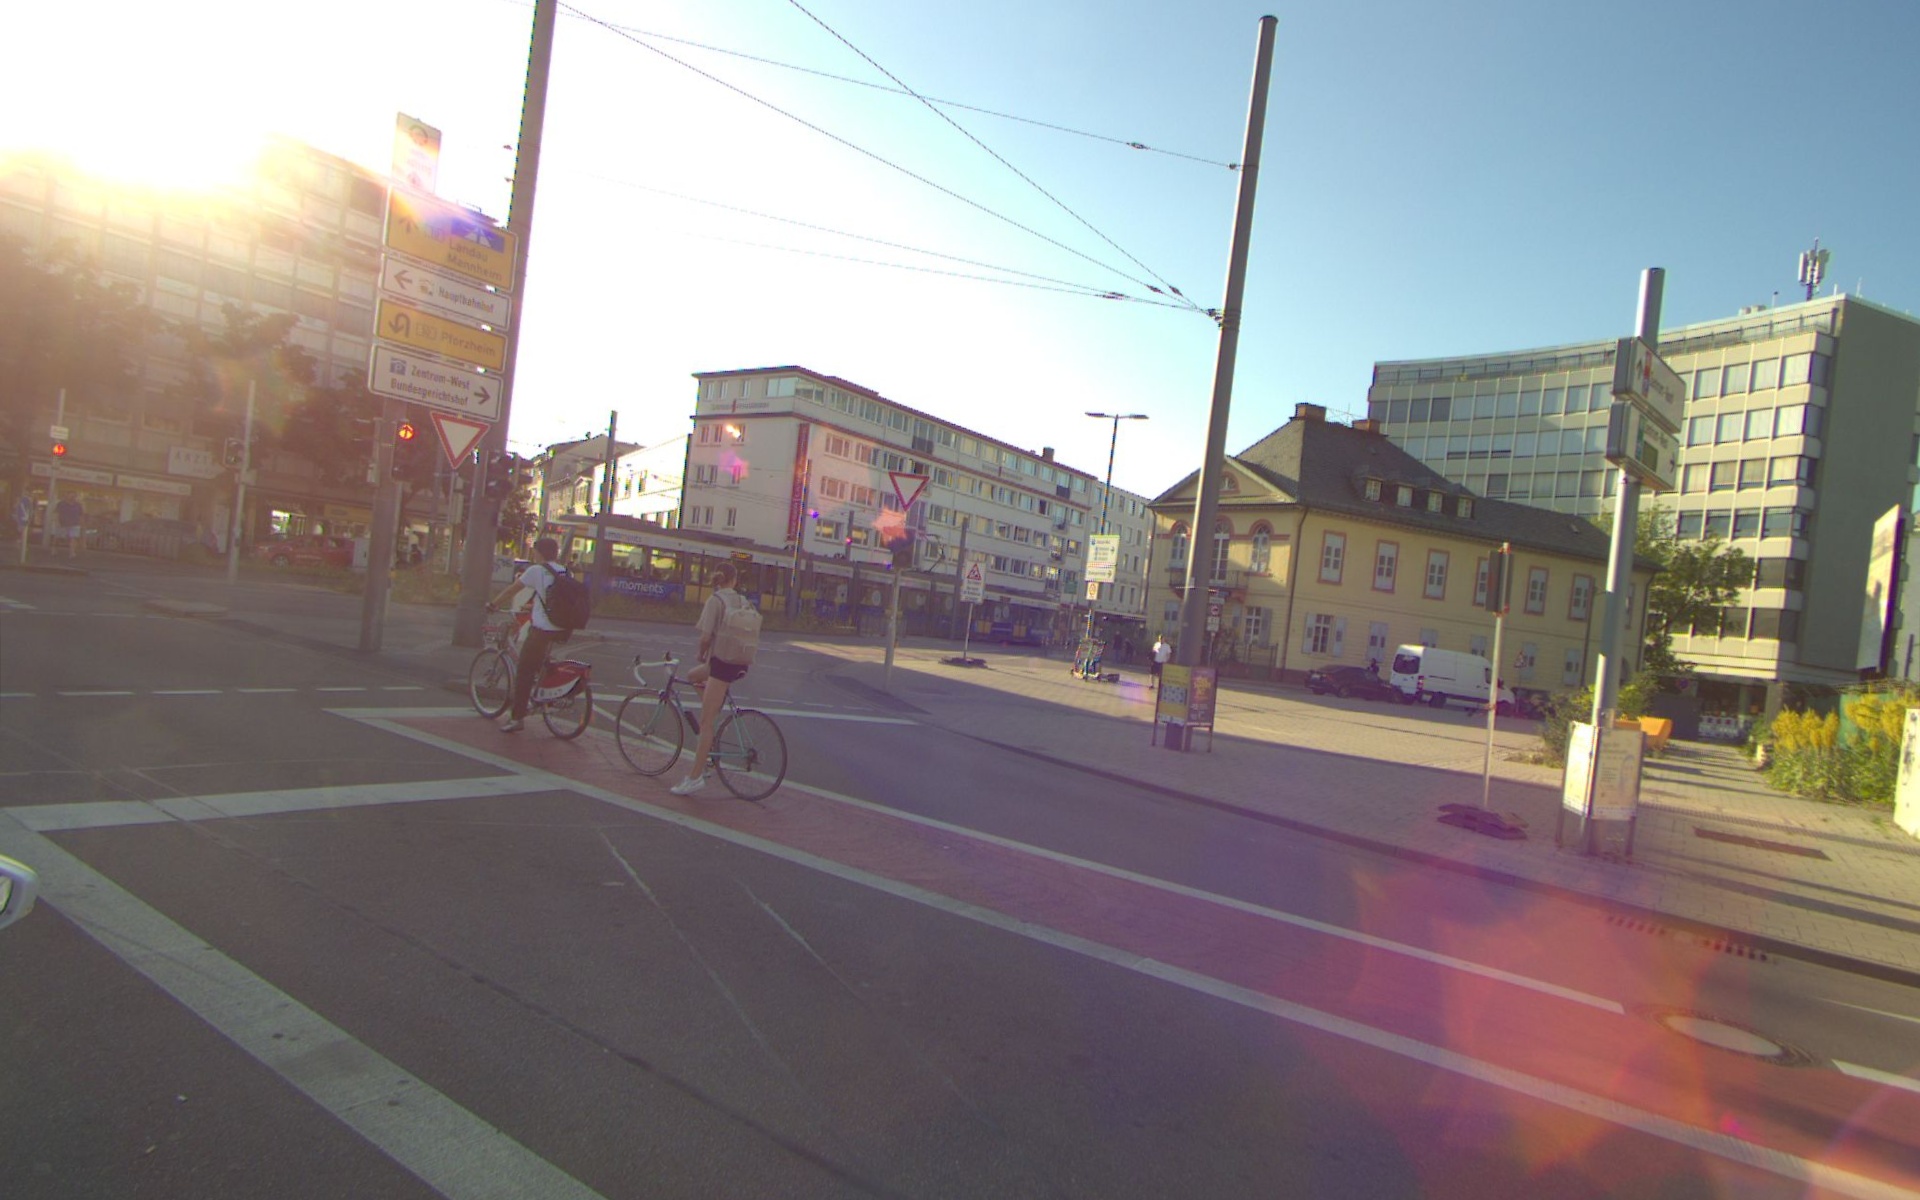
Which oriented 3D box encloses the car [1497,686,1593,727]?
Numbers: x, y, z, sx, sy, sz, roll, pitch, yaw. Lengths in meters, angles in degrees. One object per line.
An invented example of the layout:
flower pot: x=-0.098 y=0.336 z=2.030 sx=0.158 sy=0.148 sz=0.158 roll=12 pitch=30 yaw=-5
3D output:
car: x=27.094 y=4.931 z=46.591 sx=3.706 sy=1.380 sz=1.709 roll=8 pitch=-2 yaw=-17

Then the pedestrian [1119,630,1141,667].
pedestrian: x=8.099 y=2.310 z=47.938 sx=0.802 sy=1.661 sz=0.687 roll=7 pitch=-1 yaw=15

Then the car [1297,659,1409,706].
car: x=16.622 y=3.487 z=42.593 sx=4.133 sy=1.380 sz=1.709 roll=8 pitch=-2 yaw=-17

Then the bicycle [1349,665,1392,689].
bicycle: x=20.831 y=3.895 z=50.999 sx=1.963 sy=0.959 sz=0.721 roll=8 pitch=-2 yaw=-20

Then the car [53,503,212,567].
car: x=-30.308 y=-2.343 z=36.943 sx=1.816 sy=1.636 sz=4.071 roll=6 pitch=-2 yaw=36

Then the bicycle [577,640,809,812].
bicycle: x=-2.046 y=0.918 z=7.649 sx=1.664 sy=1.013 sz=0.543 roll=6 pitch=-1 yaw=27

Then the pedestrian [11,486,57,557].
pedestrian: x=-24.045 y=-2.033 z=26.115 sx=1.029 sy=1.702 sz=0.694 roll=6 pitch=-1 yaw=45

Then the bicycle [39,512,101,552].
bicycle: x=-34.496 y=-2.627 z=38.980 sx=2.594 sy=1.157 sz=0.751 roll=9 pitch=0 yaw=26

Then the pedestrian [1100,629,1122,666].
pedestrian: x=7.223 y=2.253 z=48.000 sx=0.802 sy=1.661 sz=0.687 roll=7 pitch=-1 yaw=13

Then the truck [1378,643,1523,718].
truck: x=21.833 y=3.581 z=44.808 sx=5.556 sy=2.578 sz=2.294 roll=8 pitch=-2 yaw=-17

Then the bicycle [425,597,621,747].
bicycle: x=-4.035 y=0.638 z=9.249 sx=1.777 sy=1.113 sz=0.543 roll=6 pitch=-1 yaw=27

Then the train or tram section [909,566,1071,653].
train or tram section: x=2.235 y=0.803 z=62.740 sx=3.655 sy=3.877 sz=12.960 roll=6 pitch=-2 yaw=32

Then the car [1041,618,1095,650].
car: x=8.932 y=2.789 z=82.759 sx=1.970 sy=2.036 sz=4.858 roll=6 pitch=-2 yaw=38

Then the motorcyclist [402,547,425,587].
motorcyclist: x=-22.273 y=-1.350 z=40.994 sx=0.527 sy=1.526 sz=0.460 roll=6 pitch=-1 yaw=37

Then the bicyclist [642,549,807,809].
bicyclist: x=-1.745 y=0.570 z=7.483 sx=0.778 sy=1.766 sz=0.615 roll=7 pitch=-1 yaw=27

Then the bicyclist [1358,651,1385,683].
bicyclist: x=20.856 y=3.392 z=50.991 sx=0.885 sy=1.474 sz=0.721 roll=8 pitch=-1 yaw=-20

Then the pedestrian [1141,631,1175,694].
pedestrian: x=6.035 y=1.906 z=30.613 sx=0.746 sy=1.783 sz=1.009 roll=7 pitch=-1 yaw=16

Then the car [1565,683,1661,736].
car: x=31.151 y=5.209 z=47.979 sx=3.706 sy=2.003 sz=1.709 roll=8 pitch=-2 yaw=-17

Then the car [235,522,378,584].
car: x=-24.468 y=-1.735 z=37.767 sx=1.816 sy=1.636 sz=3.990 roll=6 pitch=-2 yaw=36

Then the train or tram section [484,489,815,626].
train or tram section: x=-11.922 y=-1.426 z=41.046 sx=3.656 sy=3.880 sz=13.326 roll=6 pitch=-1 yaw=34

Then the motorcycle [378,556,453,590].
motorcycle: x=-22.216 y=-1.079 z=41.109 sx=0.527 sy=1.013 sz=2.664 roll=6 pitch=-2 yaw=36

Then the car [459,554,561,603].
car: x=-20.029 y=-0.913 z=44.985 sx=1.809 sy=1.636 sz=4.004 roll=7 pitch=-2 yaw=18

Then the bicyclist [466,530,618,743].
bicyclist: x=-3.812 y=0.324 z=9.174 sx=1.042 sy=1.789 sz=0.543 roll=7 pitch=-1 yaw=27

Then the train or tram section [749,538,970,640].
train or tram section: x=-4.702 y=-0.347 z=51.921 sx=3.656 sy=3.880 sz=12.946 roll=6 pitch=-1 yaw=34

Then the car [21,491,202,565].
car: x=-26.886 y=-2.255 z=31.997 sx=1.816 sy=1.636 sz=3.990 roll=6 pitch=-2 yaw=36

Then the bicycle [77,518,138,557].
bicycle: x=-33.918 y=-2.500 z=40.025 sx=2.594 sy=1.157 sz=0.751 roll=9 pitch=0 yaw=26

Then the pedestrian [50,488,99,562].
pedestrian: x=-23.440 y=-1.982 z=26.636 sx=1.028 sy=1.814 sz=0.694 roll=6 pitch=-1 yaw=43
